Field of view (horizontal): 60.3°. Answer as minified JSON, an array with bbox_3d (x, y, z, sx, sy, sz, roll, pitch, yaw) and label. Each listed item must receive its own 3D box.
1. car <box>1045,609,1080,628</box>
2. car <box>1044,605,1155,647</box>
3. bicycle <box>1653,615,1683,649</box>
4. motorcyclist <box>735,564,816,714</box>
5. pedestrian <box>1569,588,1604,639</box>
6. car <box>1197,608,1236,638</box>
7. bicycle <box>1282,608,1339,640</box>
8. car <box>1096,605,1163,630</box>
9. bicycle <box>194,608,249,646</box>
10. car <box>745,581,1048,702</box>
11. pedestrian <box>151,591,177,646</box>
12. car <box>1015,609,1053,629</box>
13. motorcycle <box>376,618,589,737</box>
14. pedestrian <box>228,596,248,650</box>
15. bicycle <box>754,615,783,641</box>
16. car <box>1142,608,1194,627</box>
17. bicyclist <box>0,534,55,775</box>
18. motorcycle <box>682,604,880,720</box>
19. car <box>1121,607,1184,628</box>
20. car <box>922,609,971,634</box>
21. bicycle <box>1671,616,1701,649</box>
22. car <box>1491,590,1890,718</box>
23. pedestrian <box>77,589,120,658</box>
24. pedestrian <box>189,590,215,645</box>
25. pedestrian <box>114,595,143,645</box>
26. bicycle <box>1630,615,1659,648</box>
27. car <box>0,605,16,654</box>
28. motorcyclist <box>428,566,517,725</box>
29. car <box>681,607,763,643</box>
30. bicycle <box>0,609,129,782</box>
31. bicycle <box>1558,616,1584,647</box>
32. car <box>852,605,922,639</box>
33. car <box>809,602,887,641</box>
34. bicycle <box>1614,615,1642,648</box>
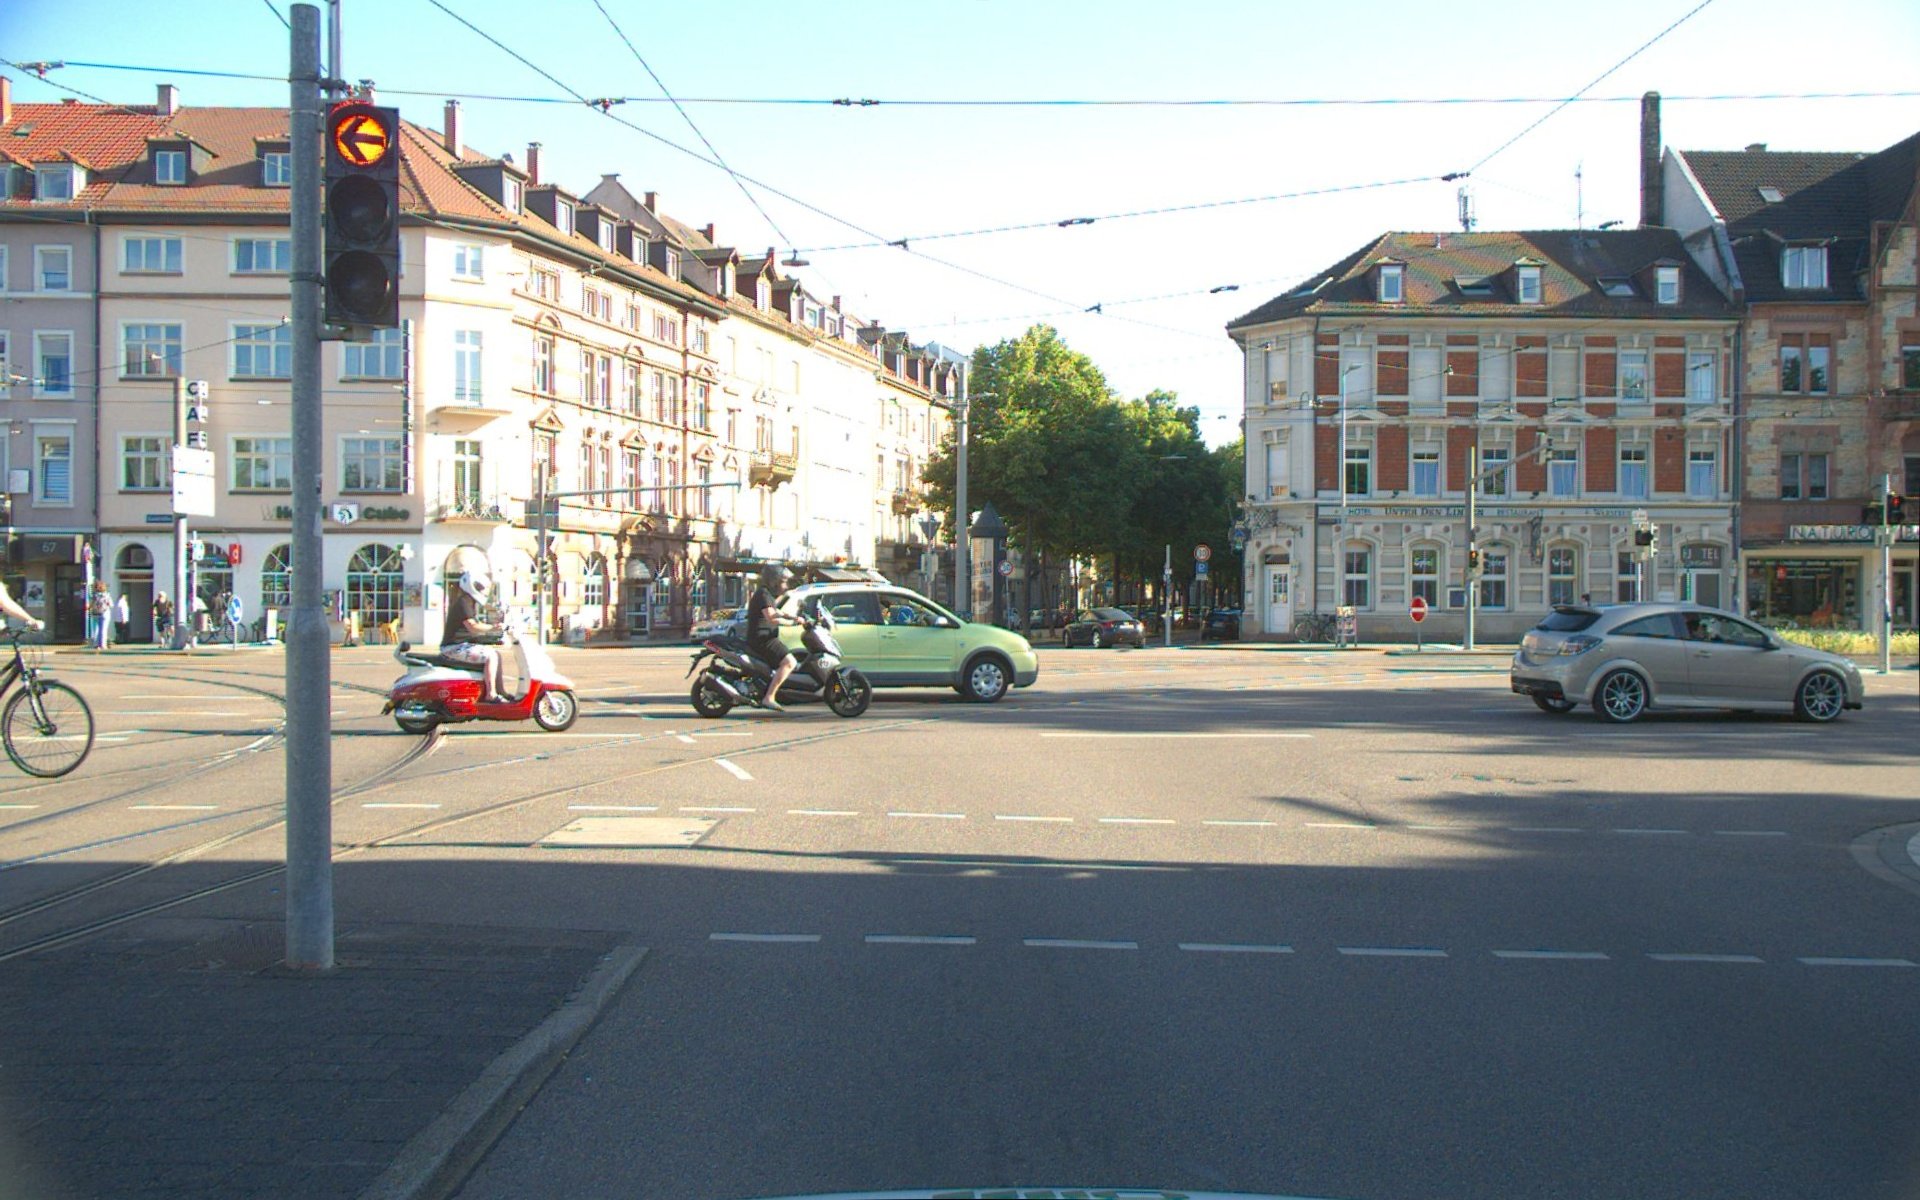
[{"bbox_3d":[8.145,1.432,131.512,1.951,1.429,4.172,0,0,15],"label":"car"},{"bbox_3d":[4.699,0.858,56.248,1.701,1.323,4.027,0,0,-33],"label":"car"},{"bbox_3d":[22.911,1.030,53.565,0.476,1.038,1.785,0,0,9],"label":"bicycle"},{"bbox_3d":[-2.089,0.435,18.691,0.817,1.648,0.814,1,-1,-12],"label":"motorcyclist"},{"bbox_3d":[21.703,0.463,57.285,1.013,1.741,0.630,1,-1,8],"label":"pedestrian"},{"bbox_3d":[12.858,1.140,82.710,1.717,1.445,4.003,0,0,12],"label":"car"},{"bbox_3d":[12.181,0.827,57.518,1.911,1.072,0.716,0,0,9],"label":"bicycle"},{"bbox_3d":[10.253,1.037,99.828,3.902,1.480,1.683,0,0,10],"label":"car"},{"bbox_3d":[-25.173,0.918,56.406,1.684,1.299,0.385,0,0,-18],"label":"bicycle"},{"bbox_3d":[-0.894,0.511,21.987,3.881,1.525,1.738,0,0,-8],"label":"car"},{"bbox_3d":[-24.947,0.586,51.838,0.731,1.711,0.623,0,0,-26],"label":"pedestrian"},{"bbox_3d":[5.478,1.377,122.644,1.951,1.429,4.172,0,0,15],"label":"car"},{"bbox_3d":[-4.716,0.752,16.429,1.989,1.138,0.503,0,0,-12],"label":"motorcycle"},{"bbox_3d":[-17.206,0.545,39.417,0.358,1.275,0.449,0,0,-12],"label":"pedestrian"},{"bbox_3d":[-7.551,1.098,65.171,0.641,1.018,1.666,1,0,11],"label":"bicycle"},{"bbox_3d":[14.049,1.148,111.666,3.360,1.261,1.578,0,0,10],"label":"car"},{"bbox_3d":[-7.357,0.393,12.266,0.921,1.743,0.732,0,0,-8],"label":"bicyclist"},{"bbox_3d":[-2.023,0.678,18.585,2.166,1.250,0.693,0,0,-12],"label":"motorcycle"},{"bbox_3d":[12.320,1.139,105.567,3.902,1.311,1.696,0,0,10],"label":"car"},{"bbox_3d":[-0.815,1.317,102.060,1.951,1.429,4.172,0,0,15],"label":"car"},{"bbox_3d":[23.595,1.042,53.747,0.476,1.038,1.785,0,0,9],"label":"bicycle"},{"bbox_3d":[8.873,0.642,20.242,4.188,1.466,1.738,1,0,-8],"label":"car"},{"bbox_3d":[-21.459,0.573,41.209,0.725,1.711,0.628,0,0,-1],"label":"pedestrian"},{"bbox_3d":[-23.711,0.550,51.723,0.731,1.711,0.623,0,0,-26],"label":"pedestrian"},{"bbox_3d":[-28.234,0.670,56.145,0.727,1.711,0.626,0,0,-12],"label":"pedestrian"},{"bbox_3d":[22.116,1.016,53.485,0.476,1.038,1.785,0,0,9],"label":"bicycle"},{"bbox_3d":[-32.127,0.903,52.158,3.651,1.517,1.818,1,0,2],"label":"car"},{"bbox_3d":[-4.817,0.440,16.383,0.800,1.534,0.657,0,0,-13],"label":"motorcyclist"},{"bbox_3d":[-9.594,0.985,66.884,1.951,1.385,3.821,0,0,15],"label":"car"},{"bbox_3d":[-7.312,0.695,12.277,1.886,1.244,0.741,0,0,-8],"label":"bicycle"},{"bbox_3d":[19.809,1.013,53.657,0.476,0.930,1.785,0,0,9],"label":"bicycle"},{"bbox_3d":[-3.221,0.952,73.583,1.951,1.429,4.172,0,0,15],"label":"car"},{"bbox_3d":[-4.526,0.847,67.391,1.951,1.542,4.172,0,0,15],"label":"car"},{"bbox_3d":[21.617,1.007,53.557,0.476,1.038,1.785,0,0,9],"label":"bicycle"}]
